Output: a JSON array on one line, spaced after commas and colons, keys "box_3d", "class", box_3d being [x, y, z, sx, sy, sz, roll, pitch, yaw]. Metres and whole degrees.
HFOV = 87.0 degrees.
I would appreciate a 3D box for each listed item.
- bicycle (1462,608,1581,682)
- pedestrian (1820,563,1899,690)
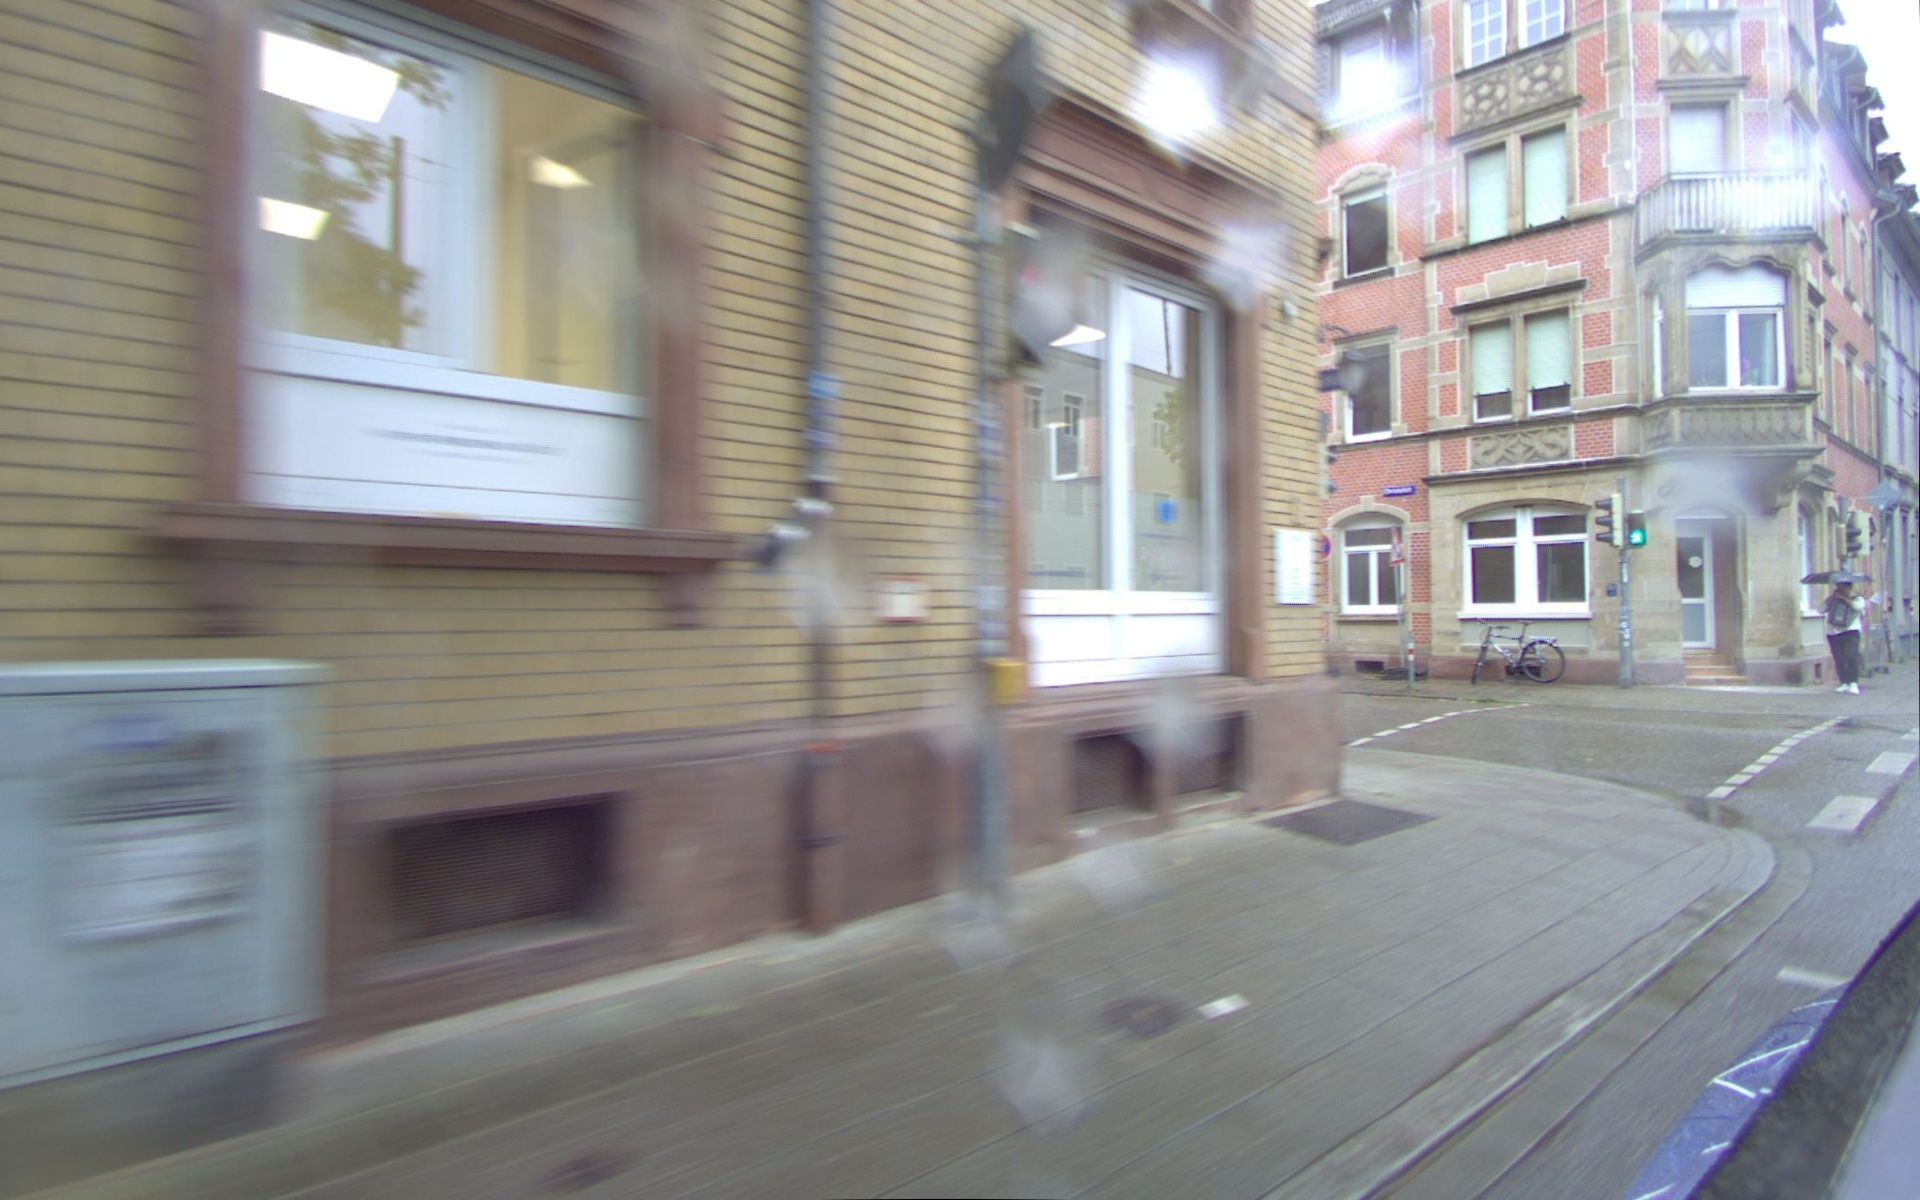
[{"box_3d": [9.943, 0.805, 17.957, 1.685, 1.238, 0.668, -4, -3, 44], "class": "bicycle"}, {"box_3d": [14.332, 0.390, 16.126, 0.913, 1.937, 0.786, 0, 1, -41], "class": "pedestrian"}]
